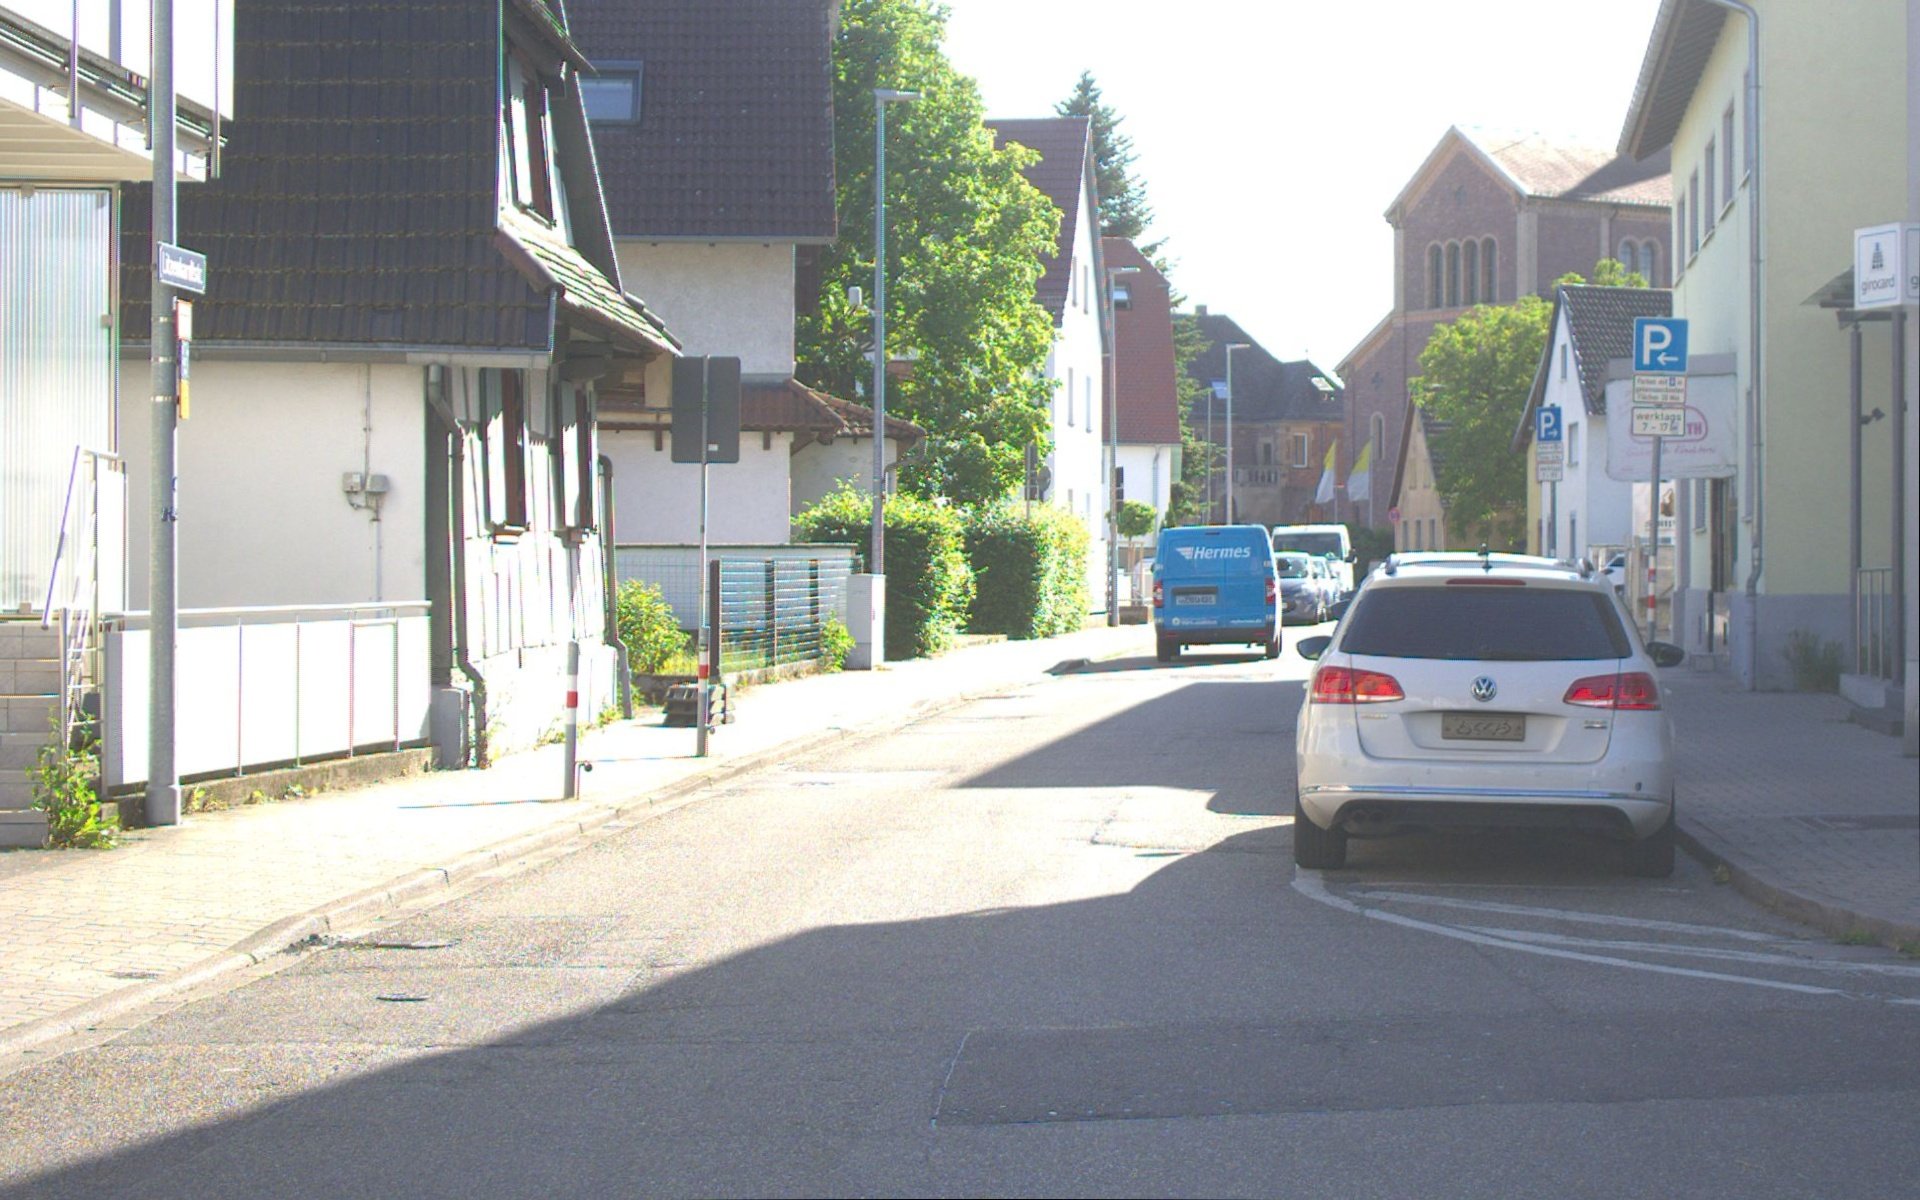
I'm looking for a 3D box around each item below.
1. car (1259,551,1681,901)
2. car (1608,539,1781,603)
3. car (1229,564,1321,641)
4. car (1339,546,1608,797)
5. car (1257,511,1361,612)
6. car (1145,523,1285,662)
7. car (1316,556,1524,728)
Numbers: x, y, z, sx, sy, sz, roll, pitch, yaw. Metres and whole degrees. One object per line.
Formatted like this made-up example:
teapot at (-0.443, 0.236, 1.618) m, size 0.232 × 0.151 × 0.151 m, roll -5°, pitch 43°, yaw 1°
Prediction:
car at (2.625, 0.520, 17.472) m, size 1.846 × 1.508 × 4.504 m, roll 0°, pitch 1°, yaw 10°
car at (17.856, -0.696, 83.559) m, size 3.916 × 1.487 × 1.845 m, roll -1°, pitch 0°, yaw 18°
car at (6.940, 0.038, 75.463) m, size 1.715 × 1.593 × 3.924 m, roll -1°, pitch 1°, yaw 9°
car at (3.431, 0.414, 23.513) m, size 1.610 × 1.515 × 3.970 m, roll 2°, pitch 1°, yaw 6°
car at (8.898, -0.991, 87.138) m, size 2.198 × 2.382 × 6.062 m, roll -2°, pitch 1°, yaw 9°
car at (3.814, -0.143, 50.690) m, size 1.903 × 1.911 × 5.069 m, roll -1°, pitch 1°, yaw 6°
car at (4.419, 0.344, 33.013) m, size 1.809 × 1.470 × 4.443 m, roll 2°, pitch 1°, yaw 8°
